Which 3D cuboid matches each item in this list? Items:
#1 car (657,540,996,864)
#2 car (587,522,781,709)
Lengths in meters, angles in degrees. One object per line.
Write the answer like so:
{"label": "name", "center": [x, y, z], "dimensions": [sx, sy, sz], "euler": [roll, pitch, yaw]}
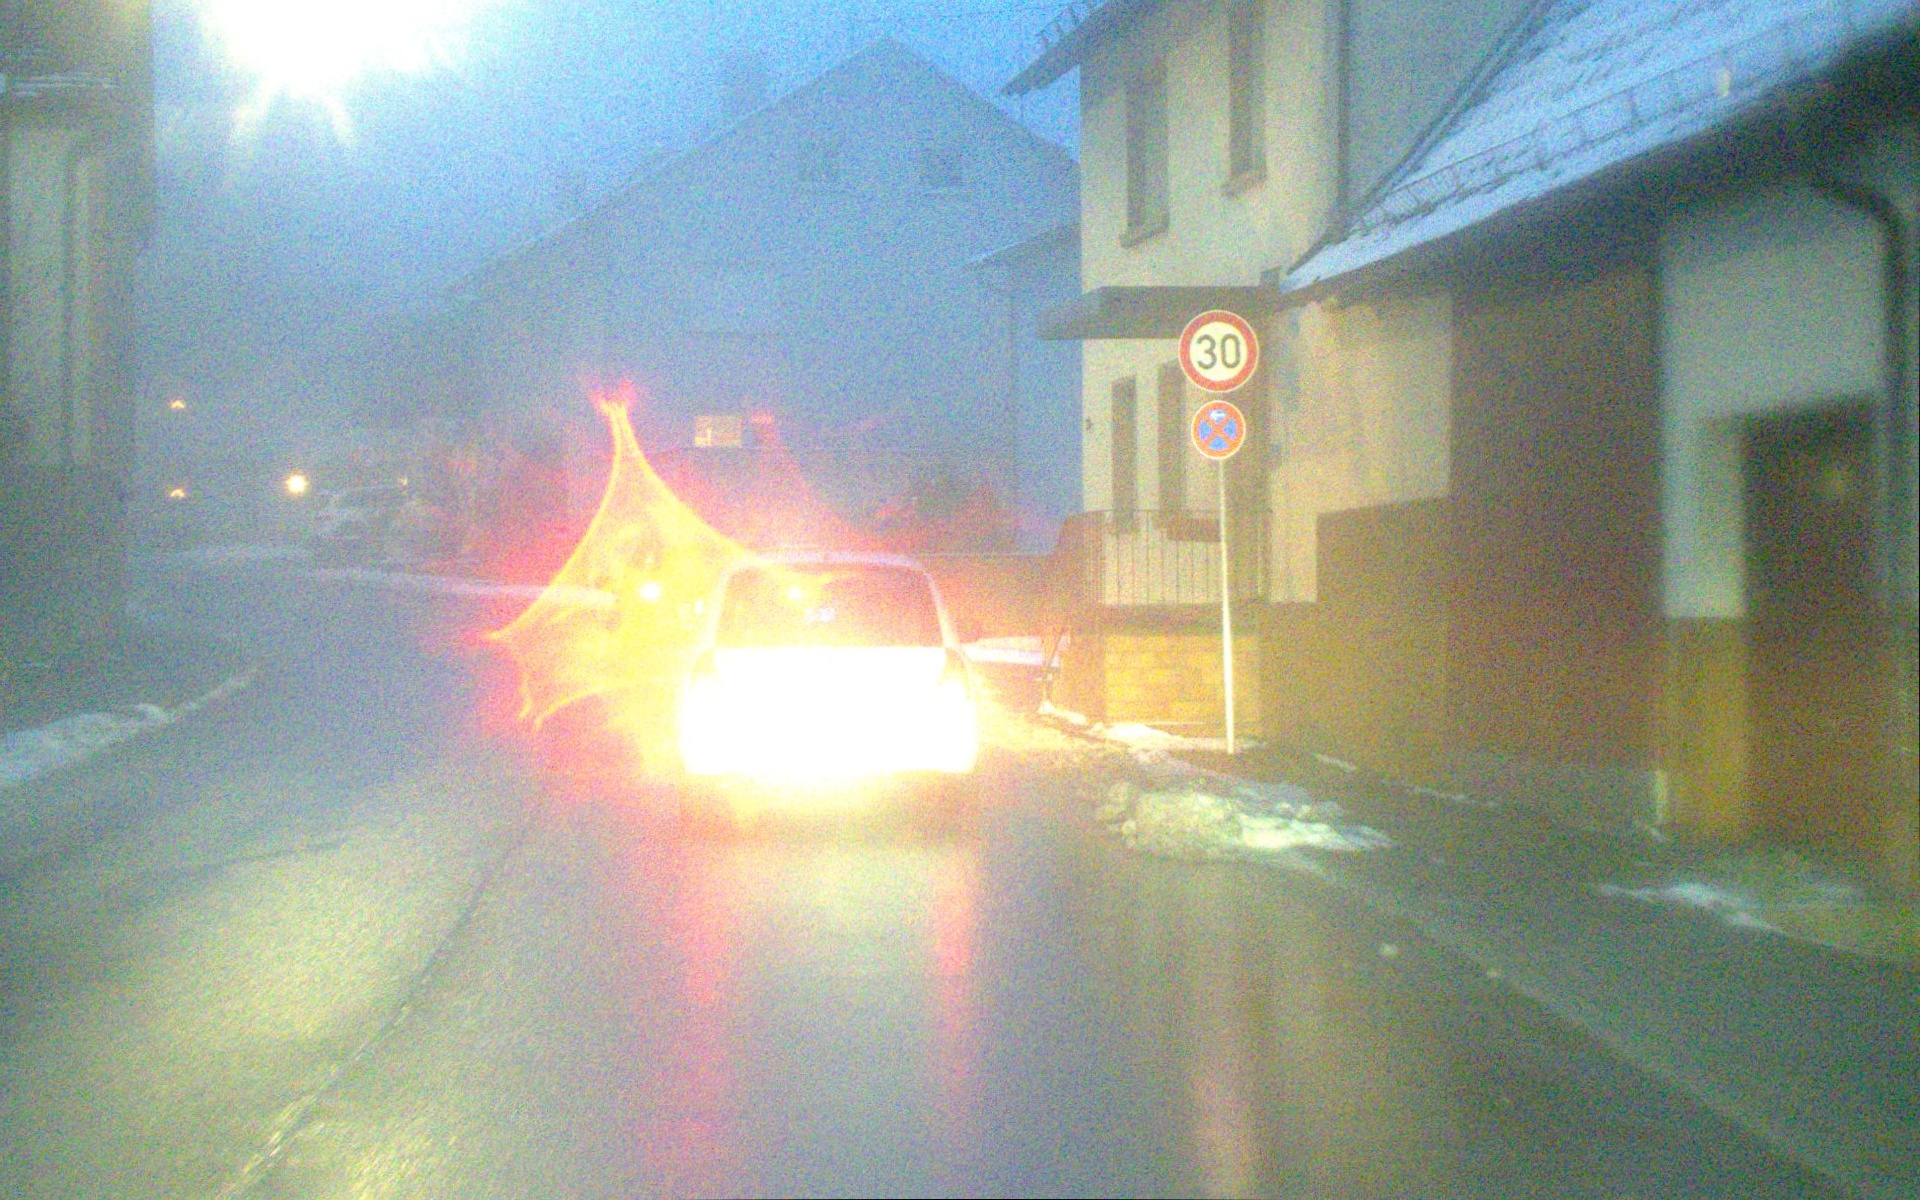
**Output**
{"label": "car", "center": [-0.838, 0.536, 19.333], "dimensions": [1.645, 1.590, 3.700], "euler": [2, -1, -5]}
{"label": "car", "center": [-2.614, 0.151, 32.030], "dimensions": [1.645, 1.590, 3.700], "euler": [2, -1, -6]}
